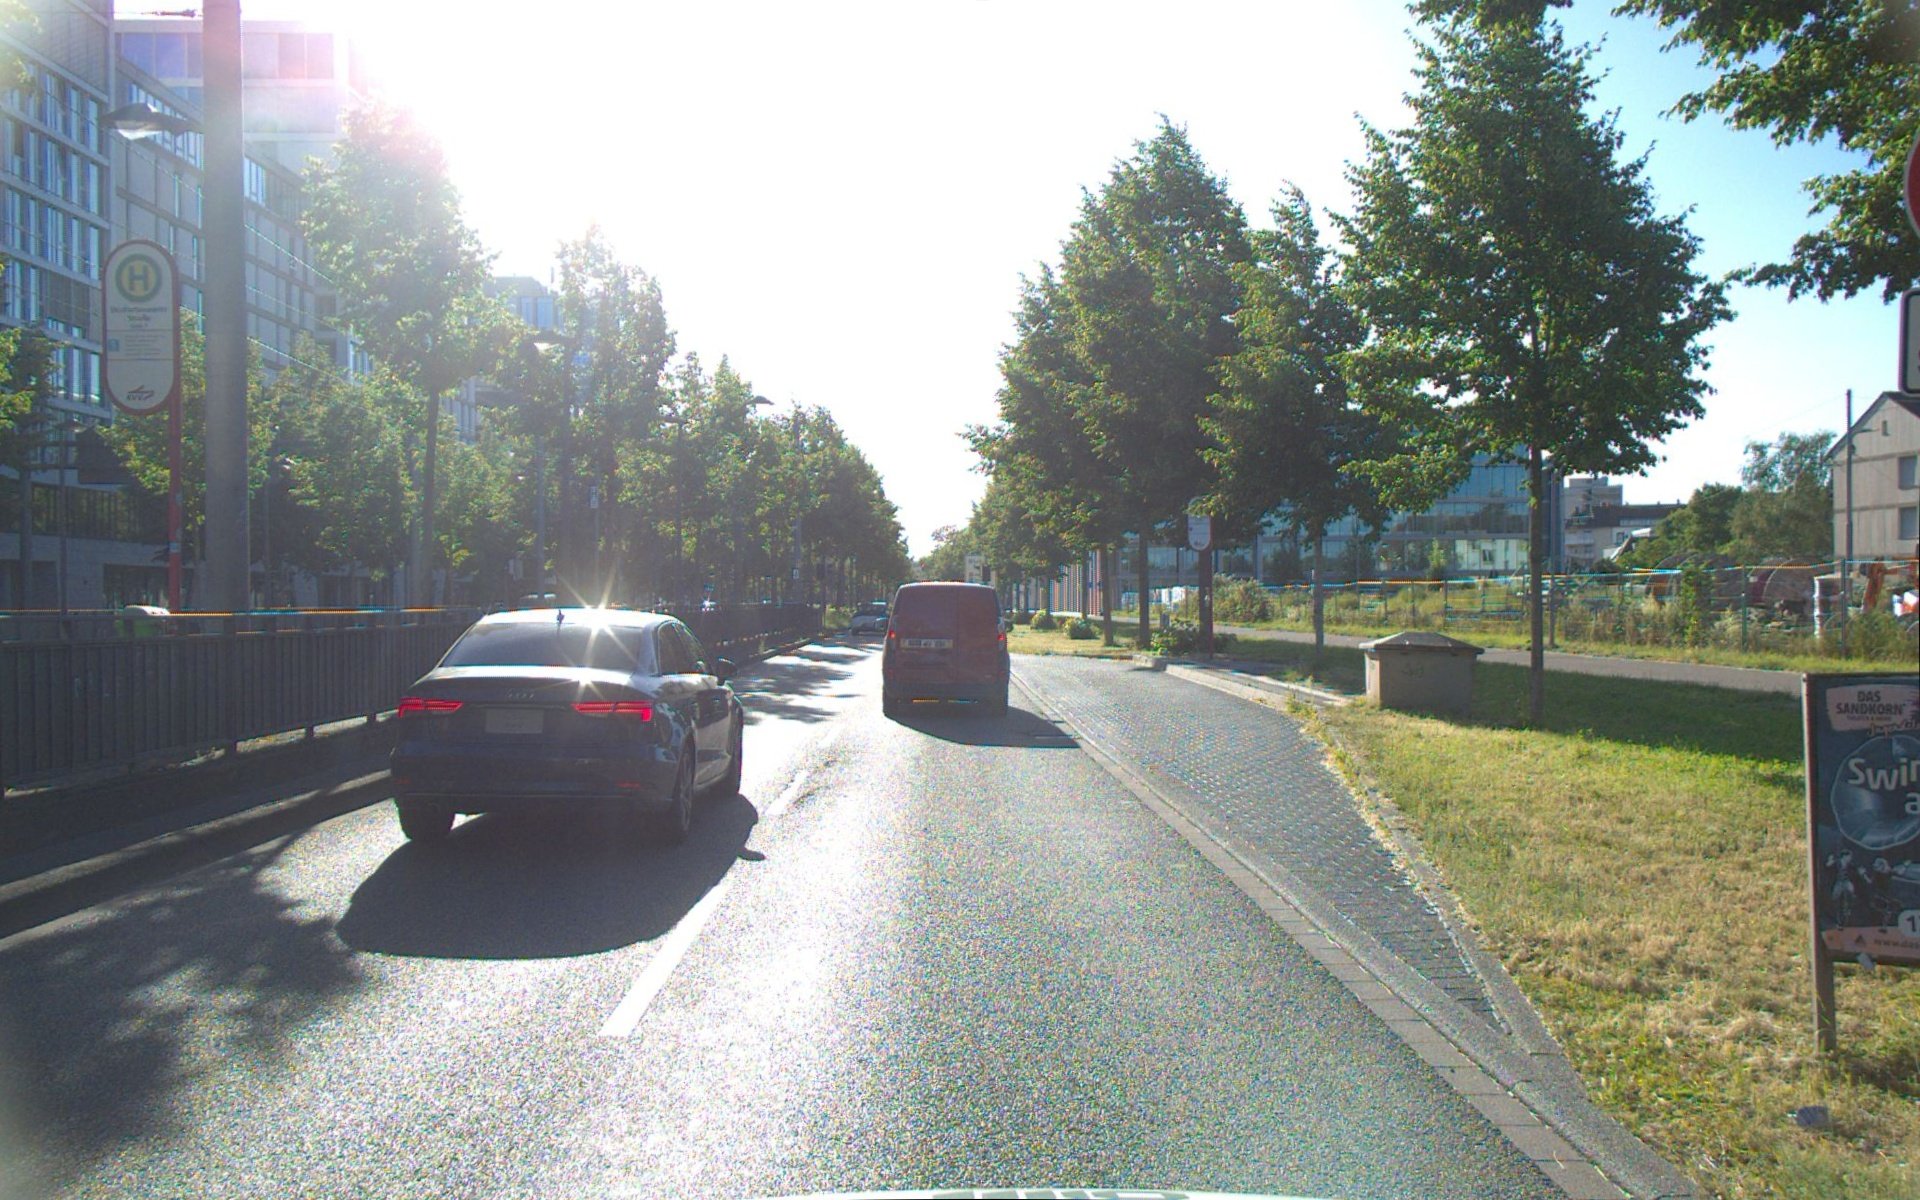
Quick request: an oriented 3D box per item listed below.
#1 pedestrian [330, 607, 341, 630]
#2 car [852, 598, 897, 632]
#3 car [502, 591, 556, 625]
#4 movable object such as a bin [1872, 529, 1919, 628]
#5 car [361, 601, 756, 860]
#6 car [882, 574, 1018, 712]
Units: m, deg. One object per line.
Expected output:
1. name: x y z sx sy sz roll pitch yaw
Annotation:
1. pedestrian: -38.825 1.167 102.878 0.399 1.437 0.690 0 -2 -1
2. car: -3.761 0.644 72.622 1.903 1.466 3.997 -1 0 -3
3. car: -24.167 0.475 92.846 1.953 1.780 4.226 -2 -1 -1
4. movable object such as a bin: 20.965 -0.445 35.491 1.758 2.049 1.789 0 -2 0
5. car: -2.475 0.726 11.221 1.686 1.390 4.145 1 0 -1
6. car: -0.225 0.595 23.824 1.762 1.808 3.997 1 -1 -3
